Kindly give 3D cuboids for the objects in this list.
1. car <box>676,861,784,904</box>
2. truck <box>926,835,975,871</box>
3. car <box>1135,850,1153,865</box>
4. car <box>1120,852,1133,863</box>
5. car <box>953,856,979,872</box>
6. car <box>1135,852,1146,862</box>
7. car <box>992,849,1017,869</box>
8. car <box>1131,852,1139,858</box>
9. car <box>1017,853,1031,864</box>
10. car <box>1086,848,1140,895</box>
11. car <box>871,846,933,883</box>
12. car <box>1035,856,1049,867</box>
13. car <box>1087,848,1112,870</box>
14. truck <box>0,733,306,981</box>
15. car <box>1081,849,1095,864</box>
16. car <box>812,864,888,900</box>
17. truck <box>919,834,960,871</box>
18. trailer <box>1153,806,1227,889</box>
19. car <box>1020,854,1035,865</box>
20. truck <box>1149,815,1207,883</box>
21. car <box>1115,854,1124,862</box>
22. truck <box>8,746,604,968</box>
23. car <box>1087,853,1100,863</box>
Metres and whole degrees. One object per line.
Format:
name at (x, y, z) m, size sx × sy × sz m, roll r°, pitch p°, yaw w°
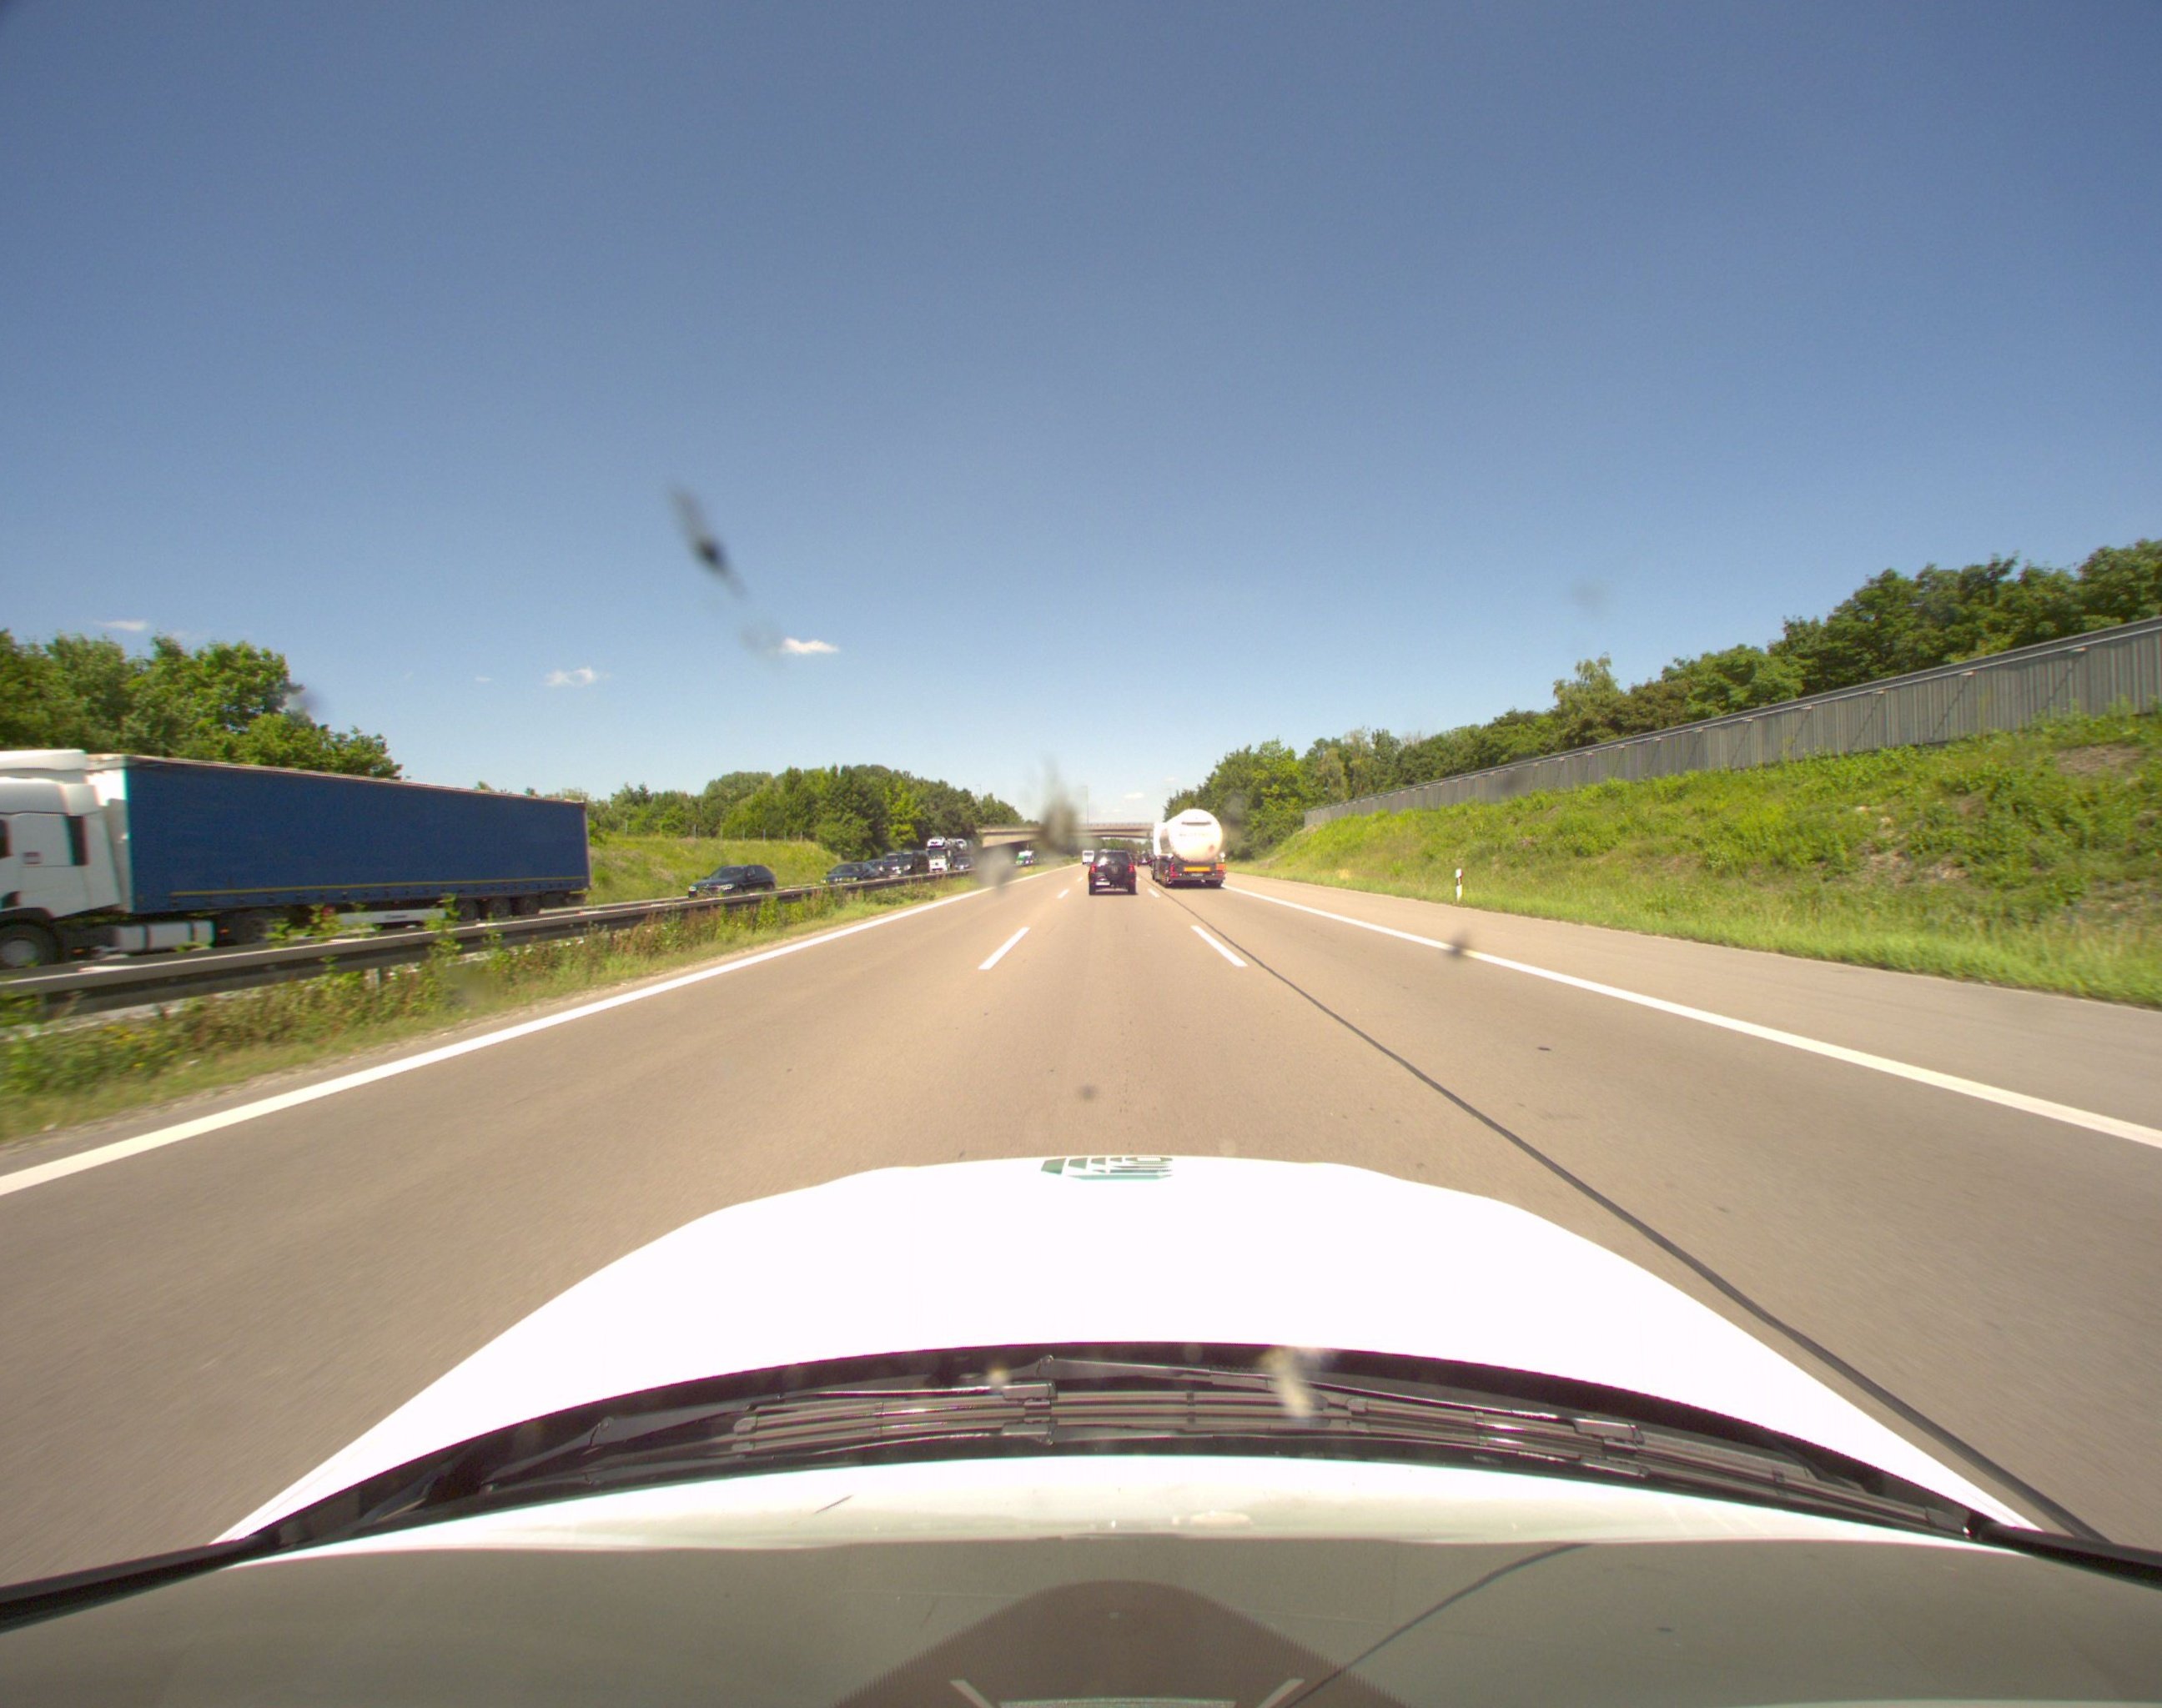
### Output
car at (-14.143, 1.105, 33.219) m, size 1.986 × 1.509 × 5.209 m, roll -2°, pitch 0°, yaw 1°
truck at (-16.234, -0.108, 102.888) m, size 3.200 × 4.050 × 16.676 m, roll -2°, pitch 0°, yaw 1°
car at (7.556, 0.390, 98.288) m, size 1.986 × 1.684 × 4.002 m, roll -1°, pitch -1°, yaw 2°
car at (6.723, 0.559, 120.657) m, size 1.834 × 1.611 × 4.003 m, roll -2°, pitch -1°, yaw 4°
car at (-12.430, 1.034, 88.277) m, size 1.986 × 1.613 × 4.583 m, roll -2°, pitch 0°, yaw 2°
car at (11.305, 0.535, 154.726) m, size 1.985 × 1.779 × 4.264 m, roll -2°, pitch 0°, yaw 3°
car at (-7.964, 0.567, 85.197) m, size 1.986 × 2.014 × 4.916 m, roll -1°, pitch -1°, yaw 2°
car at (14.669, 0.286, 221.264) m, size 1.806 × 1.746 × 4.001 m, roll -2°, pitch 0°, yaw 1°
car at (-9.579, 0.725, 136.733) m, size 1.807 × 1.809 × 4.383 m, roll -2°, pitch 0°, yaw 2°
car at (1.193, 0.642, 31.270) m, size 1.899 × 1.665 × 4.001 m, roll -1°, pitch 0°, yaw 1°
car at (-10.173, 0.568, 46.790) m, size 2.082 × 1.945 × 5.691 m, roll -2°, pitch 0°, yaw 2°
car at (-6.393, 1.233, 133.219) m, size 1.842 × 1.574 × 4.425 m, roll -1°, pitch -1°, yaw 2°
car at (1.497, 0.435, 68.696) m, size 1.987 × 1.706 × 4.335 m, roll -2°, pitch 0°, yaw 0°
truck at (-19.029, 0.119, 15.391) m, size 2.663 × 4.078 × 6.077 m, roll -3°, pitch 0°, yaw 1°
car at (1.067, 0.382, 121.332) m, size 1.987 × 2.013 × 4.950 m, roll -2°, pitch 0°, yaw 1°
car at (-10.488, 1.247, 37.430) m, size 1.867 × 1.439 × 5.020 m, roll -2°, pitch 0°, yaw 2°
truck at (-16.333, -0.153, 94.514) m, size 3.229 × 4.050 × 7.396 m, roll -2°, pitch 0°, yaw 1°
trailer at (4.972, -0.257, 39.122) m, size 2.637 × 3.390 × 11.160 m, roll -1°, pitch 0°, yaw 3°
car at (-7.536, 0.794, 115.599) m, size 1.709 × 1.390 × 4.002 m, roll -2°, pitch 0°, yaw 2°
truck at (5.179, -0.246, 44.274) m, size 2.627 × 3.374 × 6.491 m, roll 0°, pitch 0°, yaw 2°
car at (8.330, 0.894, 175.907) m, size 1.985 × 1.750 × 4.207 m, roll -2°, pitch 0°, yaw 2°
truck at (-18.824, 0.061, 22.462) m, size 2.662 × 4.078 × 13.962 m, roll -3°, pitch 0°, yaw 1°
car at (2.110, 0.750, 139.189) m, size 1.985 × 1.552 × 4.003 m, roll -2°, pitch -1°, yaw 3°
